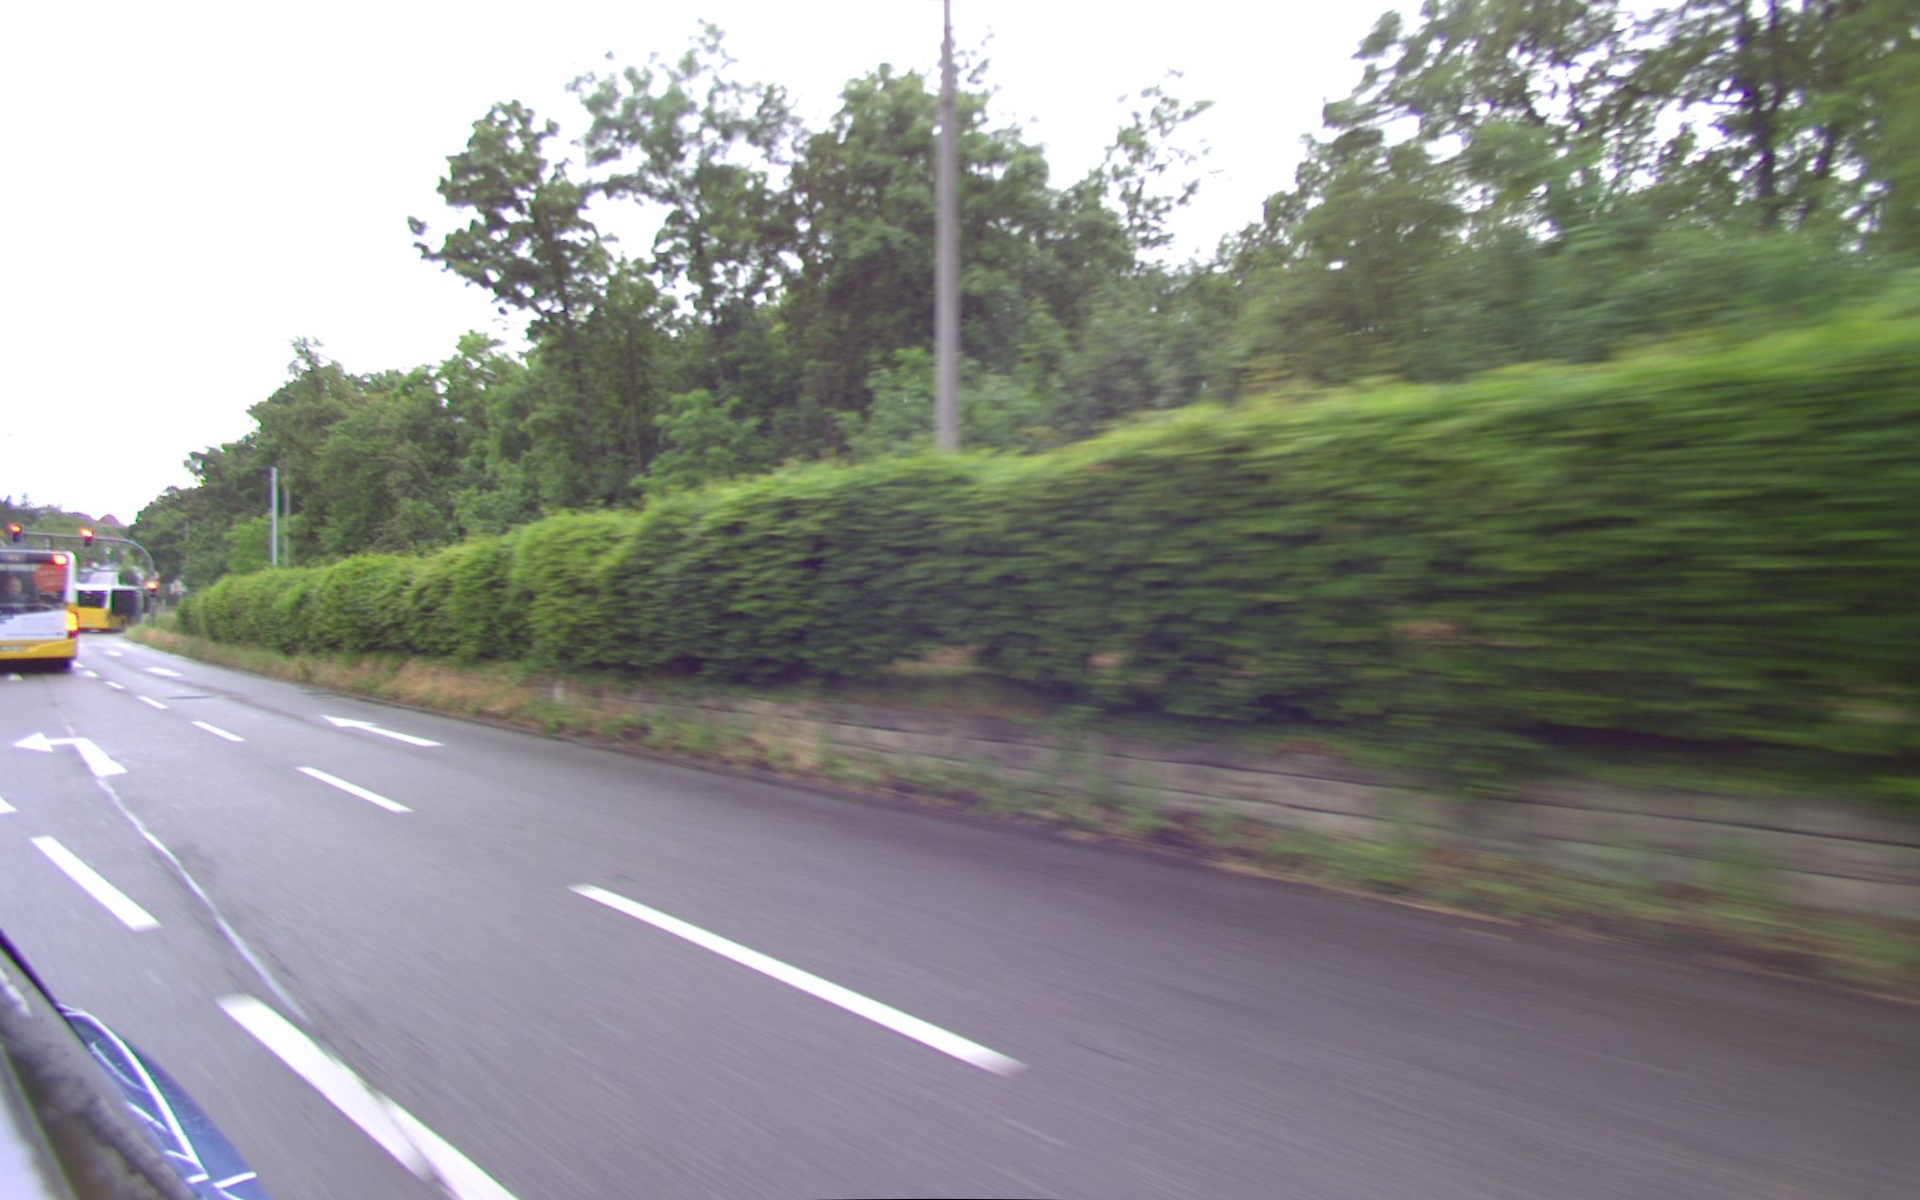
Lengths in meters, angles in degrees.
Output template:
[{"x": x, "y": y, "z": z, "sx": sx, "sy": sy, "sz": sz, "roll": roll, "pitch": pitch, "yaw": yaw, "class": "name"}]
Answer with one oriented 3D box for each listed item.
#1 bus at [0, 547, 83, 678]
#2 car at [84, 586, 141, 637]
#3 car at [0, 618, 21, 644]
[{"x": -26.199, "y": 0.365, "z": 28.020, "sx": 2.564, "sy": 3.182, "sz": 8.644, "roll": 0, "pitch": -1, "yaw": -43, "class": "bus"}, {"x": -62.428, "y": 0.908, "z": 74.668, "sx": 2.812, "sy": 3.616, "sz": 6.619, "roll": 2, "pitch": -2, "yaw": -37, "class": "car"}, {"x": -56.696, "y": 1.774, "z": 57.988, "sx": 1.974, "sy": 1.541, "sz": 3.996, "roll": 0, "pitch": -1, "yaw": 3, "class": "car"}]
